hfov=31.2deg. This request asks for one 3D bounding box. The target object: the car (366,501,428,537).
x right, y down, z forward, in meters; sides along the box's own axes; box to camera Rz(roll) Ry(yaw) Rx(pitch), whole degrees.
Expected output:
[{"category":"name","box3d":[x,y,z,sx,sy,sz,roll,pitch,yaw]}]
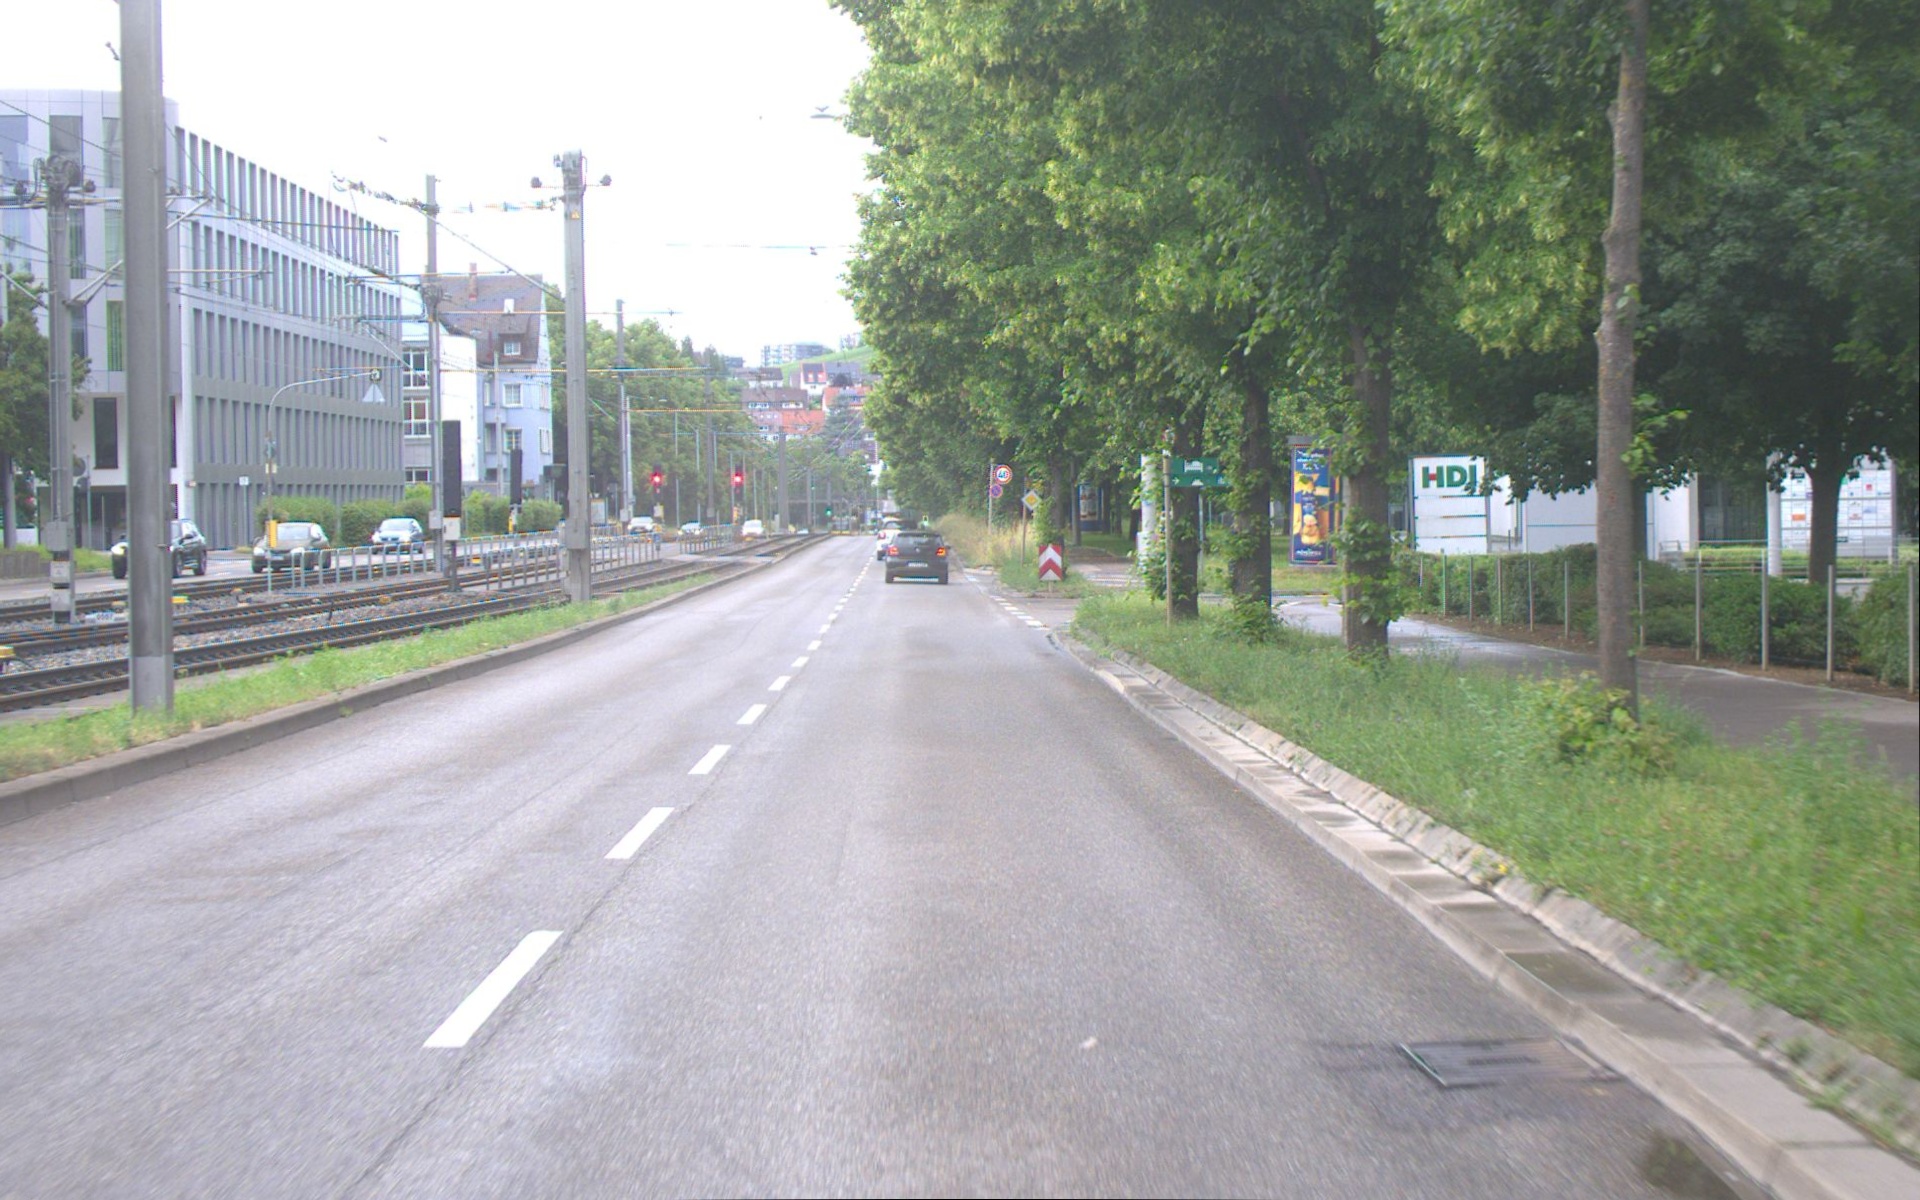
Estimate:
[{"category":"car","box3d":[-22.835,-3.298,139.545,1.761,1.392,3.900,-1,1,2]}]

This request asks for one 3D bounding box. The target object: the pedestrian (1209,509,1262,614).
[{"category":"pedestrian","box3d":[4.738,-0.662,59.226,0.826,1.791,0.868,1,1,0]}]

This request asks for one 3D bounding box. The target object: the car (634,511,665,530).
[{"category":"car","box3d":[-20.760,-5.303,230.065,1.756,1.239,3.988,-1,1,-1]}]

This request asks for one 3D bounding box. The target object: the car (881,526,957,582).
[{"category":"car","box3d":[-1.089,-1.247,92.182,1.982,1.435,4.474,-1,1,0]}]

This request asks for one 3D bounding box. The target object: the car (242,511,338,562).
[{"category":"car","box3d":[-20.245,-1.934,104.053,1.891,1.481,4.308,-1,1,2]}]

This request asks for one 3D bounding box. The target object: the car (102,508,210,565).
[{"category":"car","box3d":[-23.118,-1.849,99.034,1.948,1.590,4.847,-1,1,0]}]

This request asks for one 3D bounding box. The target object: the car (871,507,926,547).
[{"category":"car","box3d":[-2.238,-2.685,126.200,1.982,1.435,4.474,-1,1,0]}]
